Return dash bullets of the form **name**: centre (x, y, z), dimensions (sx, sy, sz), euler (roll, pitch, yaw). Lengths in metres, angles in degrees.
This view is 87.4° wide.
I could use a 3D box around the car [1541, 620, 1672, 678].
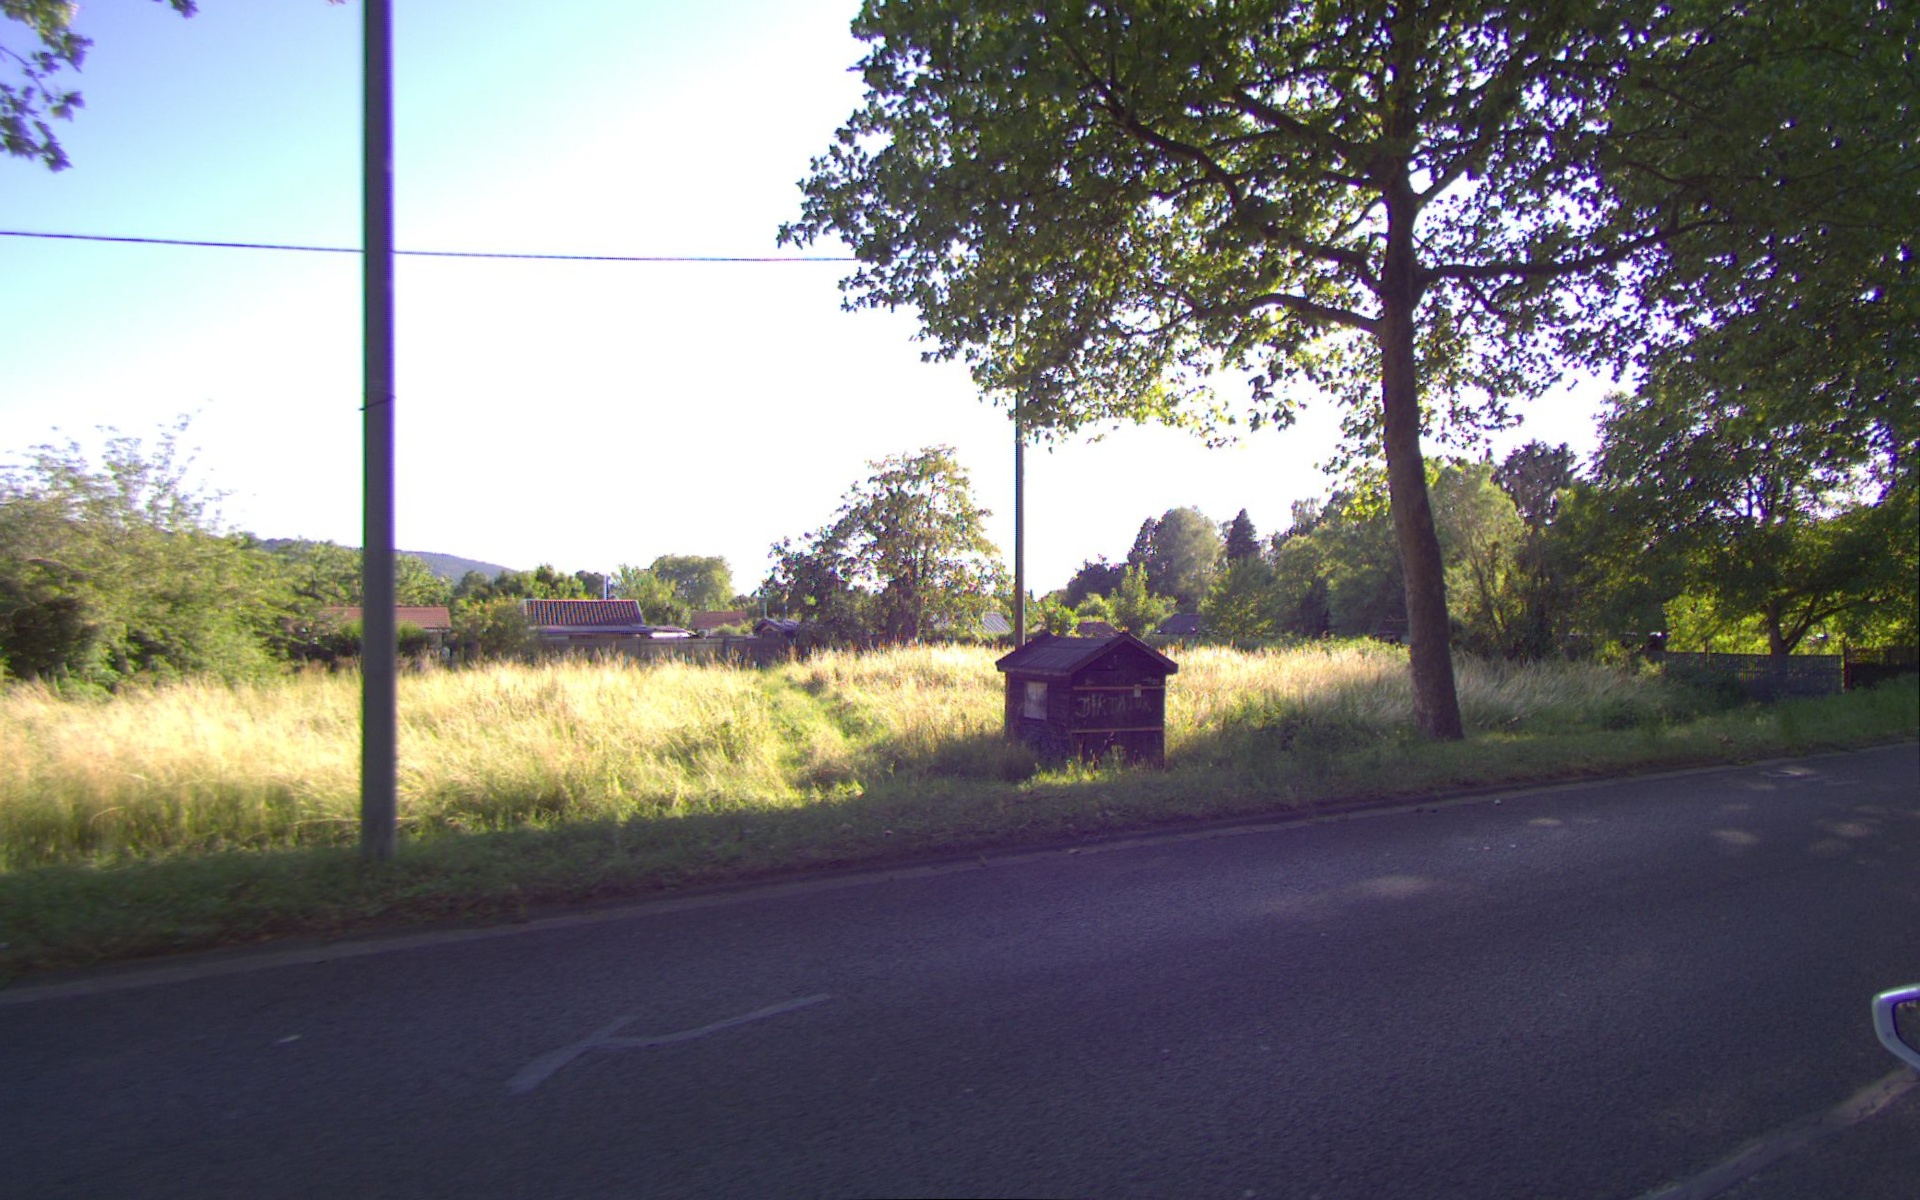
- **car**: centre (25.453, 1.893, 39.720), dimensions (1.969, 2.040, 3.983), euler (2, 0, -18)
